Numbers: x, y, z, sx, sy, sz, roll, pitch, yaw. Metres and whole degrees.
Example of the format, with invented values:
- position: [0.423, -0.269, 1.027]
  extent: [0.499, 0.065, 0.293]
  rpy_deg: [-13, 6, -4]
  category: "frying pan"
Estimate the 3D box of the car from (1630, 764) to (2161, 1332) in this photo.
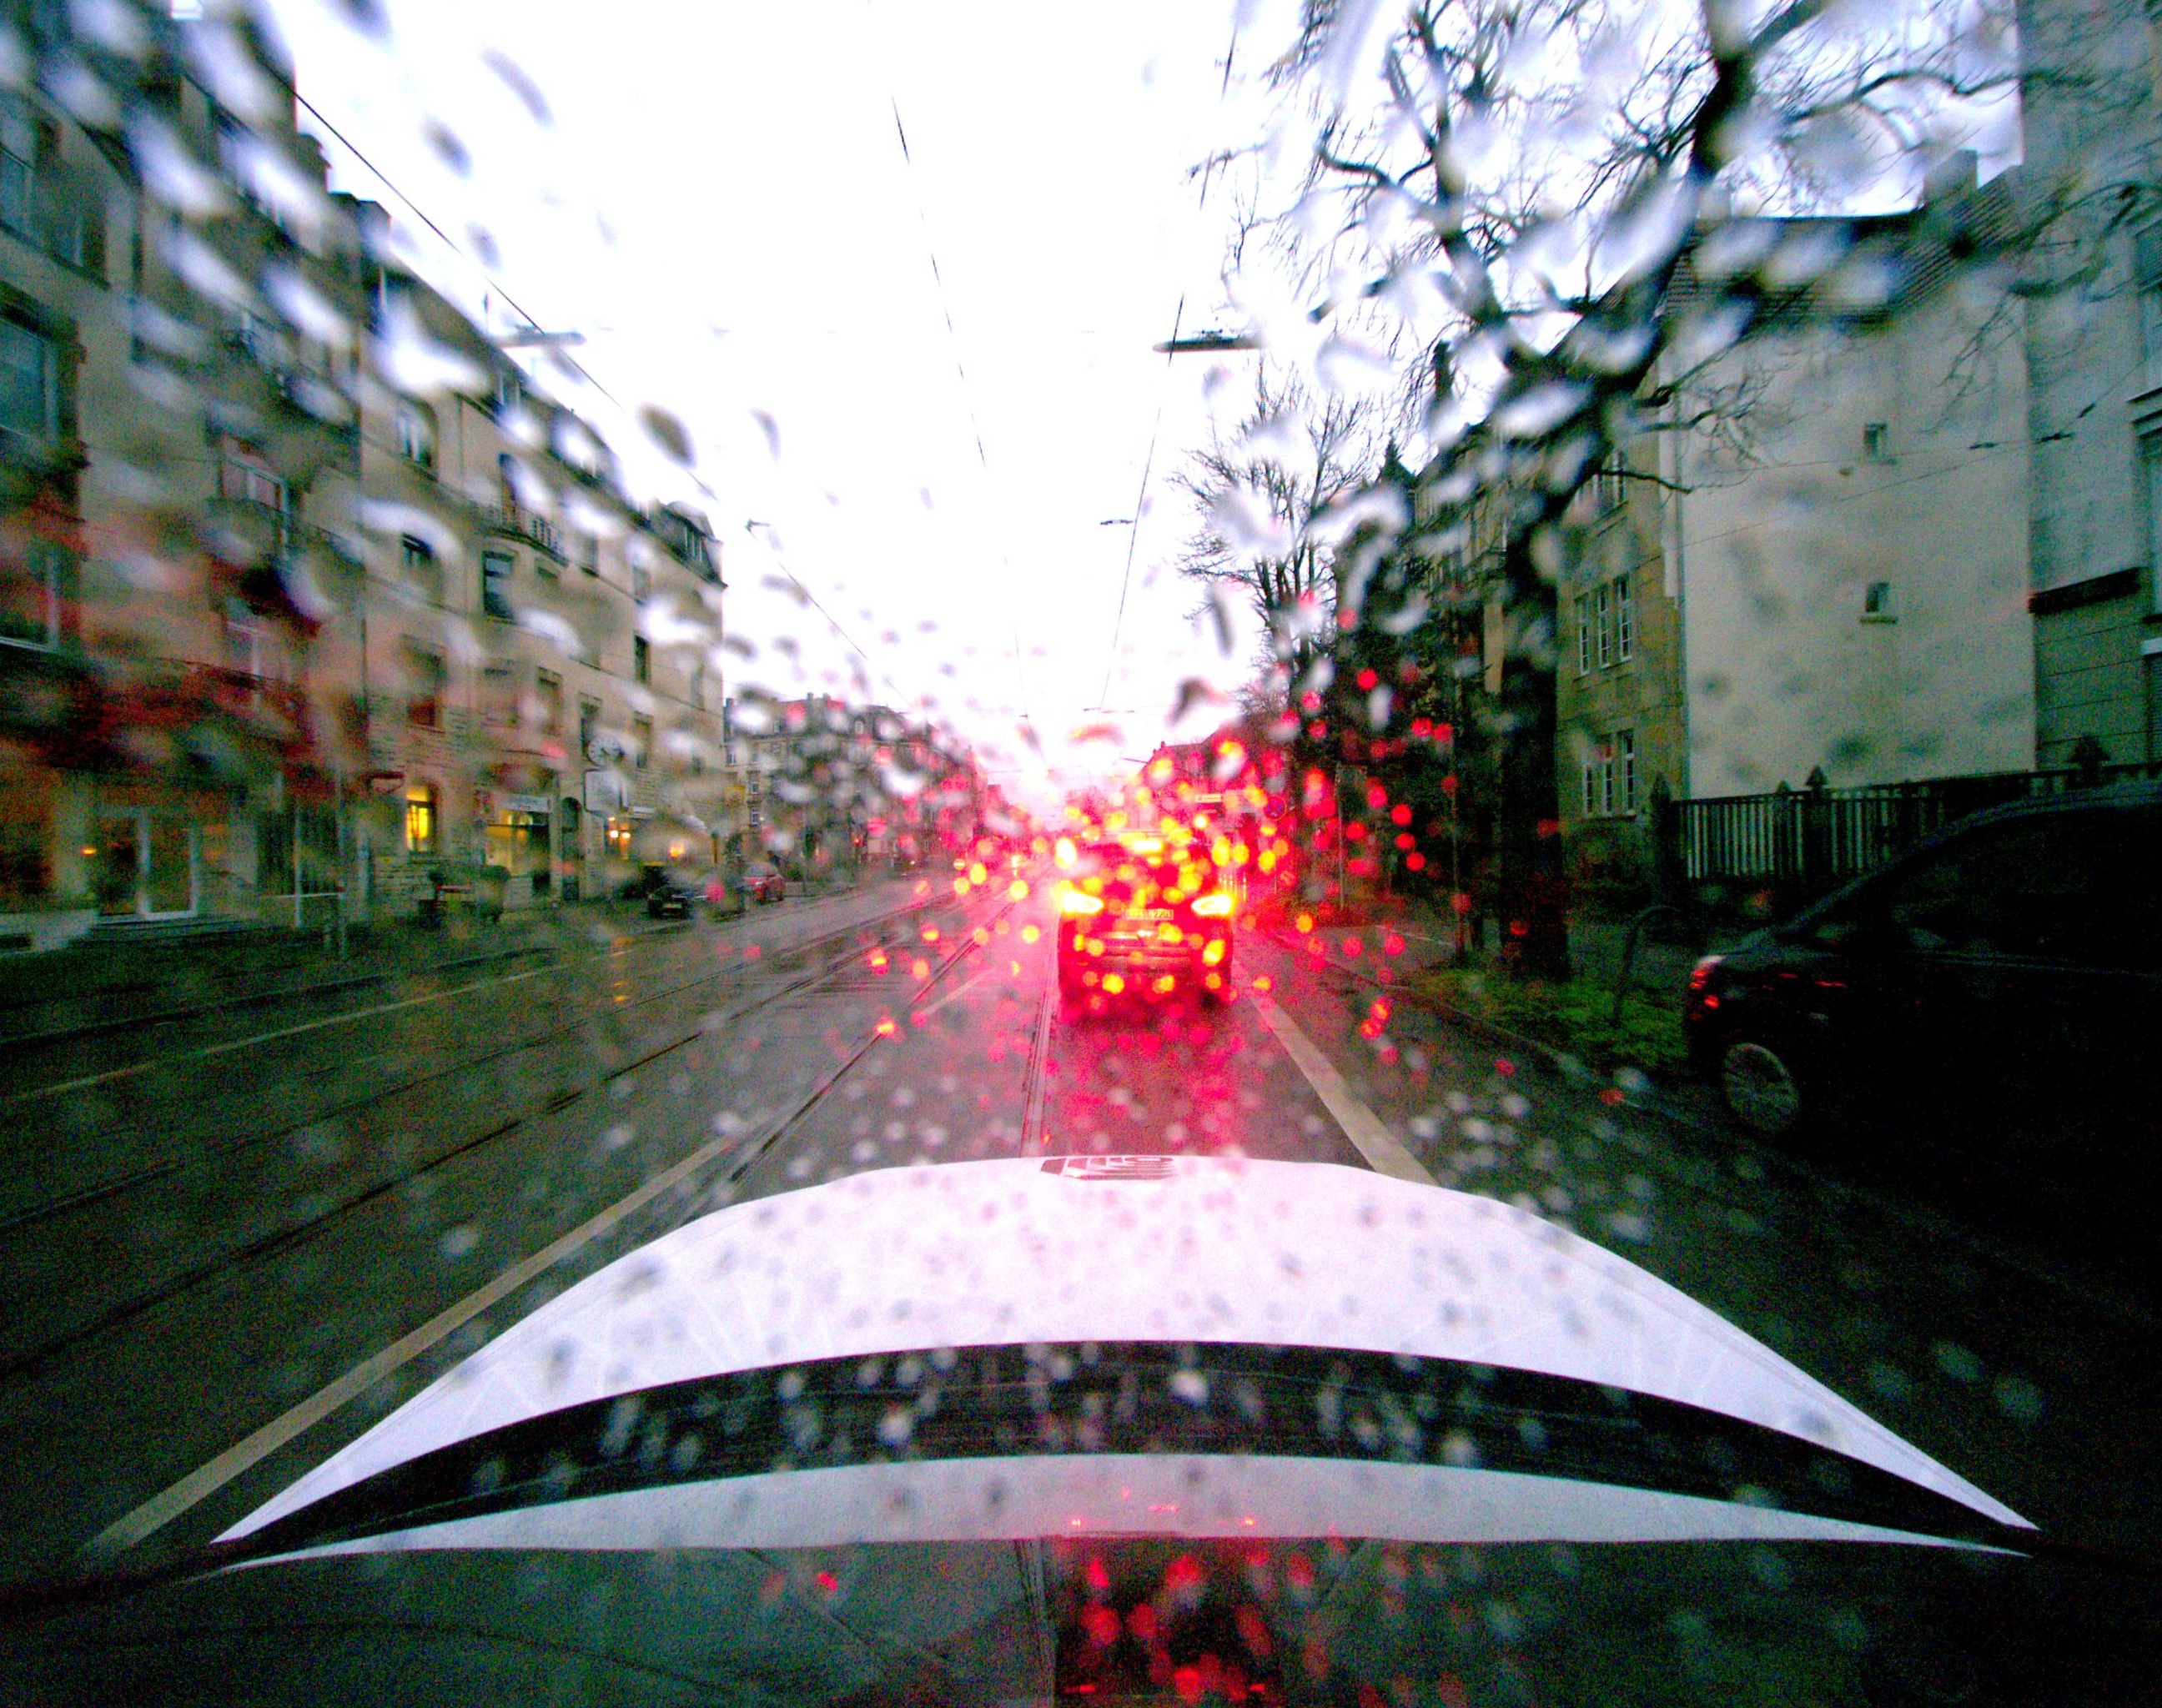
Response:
- position: [4.557, 0.608, 2.714]
  extent: [2.025, 1.875, 4.961]
  rpy_deg: [-2, 0, -1]
  category: "car"

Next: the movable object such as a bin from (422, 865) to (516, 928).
- position: [-14.591, 0.992, 19.472]
  extent: [1.263, 1.420, 1.250]
  rpy_deg: [-1, 0, -1]
  category: "movable object such as a bin"

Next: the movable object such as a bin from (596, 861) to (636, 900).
- position: [-17.191, 0.970, 30.143]
  extent: [0.896, 1.377, 1.006]
  rpy_deg: [-1, 0, -1]
  category: "movable object such as a bin"

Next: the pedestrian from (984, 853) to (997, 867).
- position: [-7.915, 0.493, 71.277]
  extent: [1.044, 1.200, 0.885]
  rpy_deg: [-1, -1, 0]
  category: "pedestrian"

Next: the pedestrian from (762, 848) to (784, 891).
- position: [-14.701, 0.747, 38.852]
  extent: [0.748, 2.014, 0.652]
  rpy_deg: [-1, -1, 35]
  category: "pedestrian"

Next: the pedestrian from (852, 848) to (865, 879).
- position: [-14.650, 0.647, 53.572]
  extent: [0.707, 2.013, 0.656]
  rpy_deg: [-1, 0, -20]
  category: "pedestrian"

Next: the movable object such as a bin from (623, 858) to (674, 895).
- position: [-16.674, 0.860, 31.422]
  extent: [1.290, 1.367, 1.252]
  rpy_deg: [-1, 0, -1]
  category: "movable object such as a bin"

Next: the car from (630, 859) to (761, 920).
- position: [-11.895, 1.040, 25.534]
  extent: [1.982, 1.645, 4.625]
  rpy_deg: [3, -1, -3]
  category: "car"

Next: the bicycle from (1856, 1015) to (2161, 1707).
- position: [2.227, 0.948, 0.950]
  extent: [0.715, 1.112, 1.938]
  rpy_deg: [0, 0, -5]
  category: "bicycle"

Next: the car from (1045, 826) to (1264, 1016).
- position: [0.768, 0.633, 10.199]
  extent: [2.096, 1.816, 4.662]
  rpy_deg: [0, 0, 1]
  category: "car"

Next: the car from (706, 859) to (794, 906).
- position: [-12.679, 1.058, 31.473]
  extent: [2.035, 1.551, 4.024]
  rpy_deg: [2, 0, -6]
  category: "car"
